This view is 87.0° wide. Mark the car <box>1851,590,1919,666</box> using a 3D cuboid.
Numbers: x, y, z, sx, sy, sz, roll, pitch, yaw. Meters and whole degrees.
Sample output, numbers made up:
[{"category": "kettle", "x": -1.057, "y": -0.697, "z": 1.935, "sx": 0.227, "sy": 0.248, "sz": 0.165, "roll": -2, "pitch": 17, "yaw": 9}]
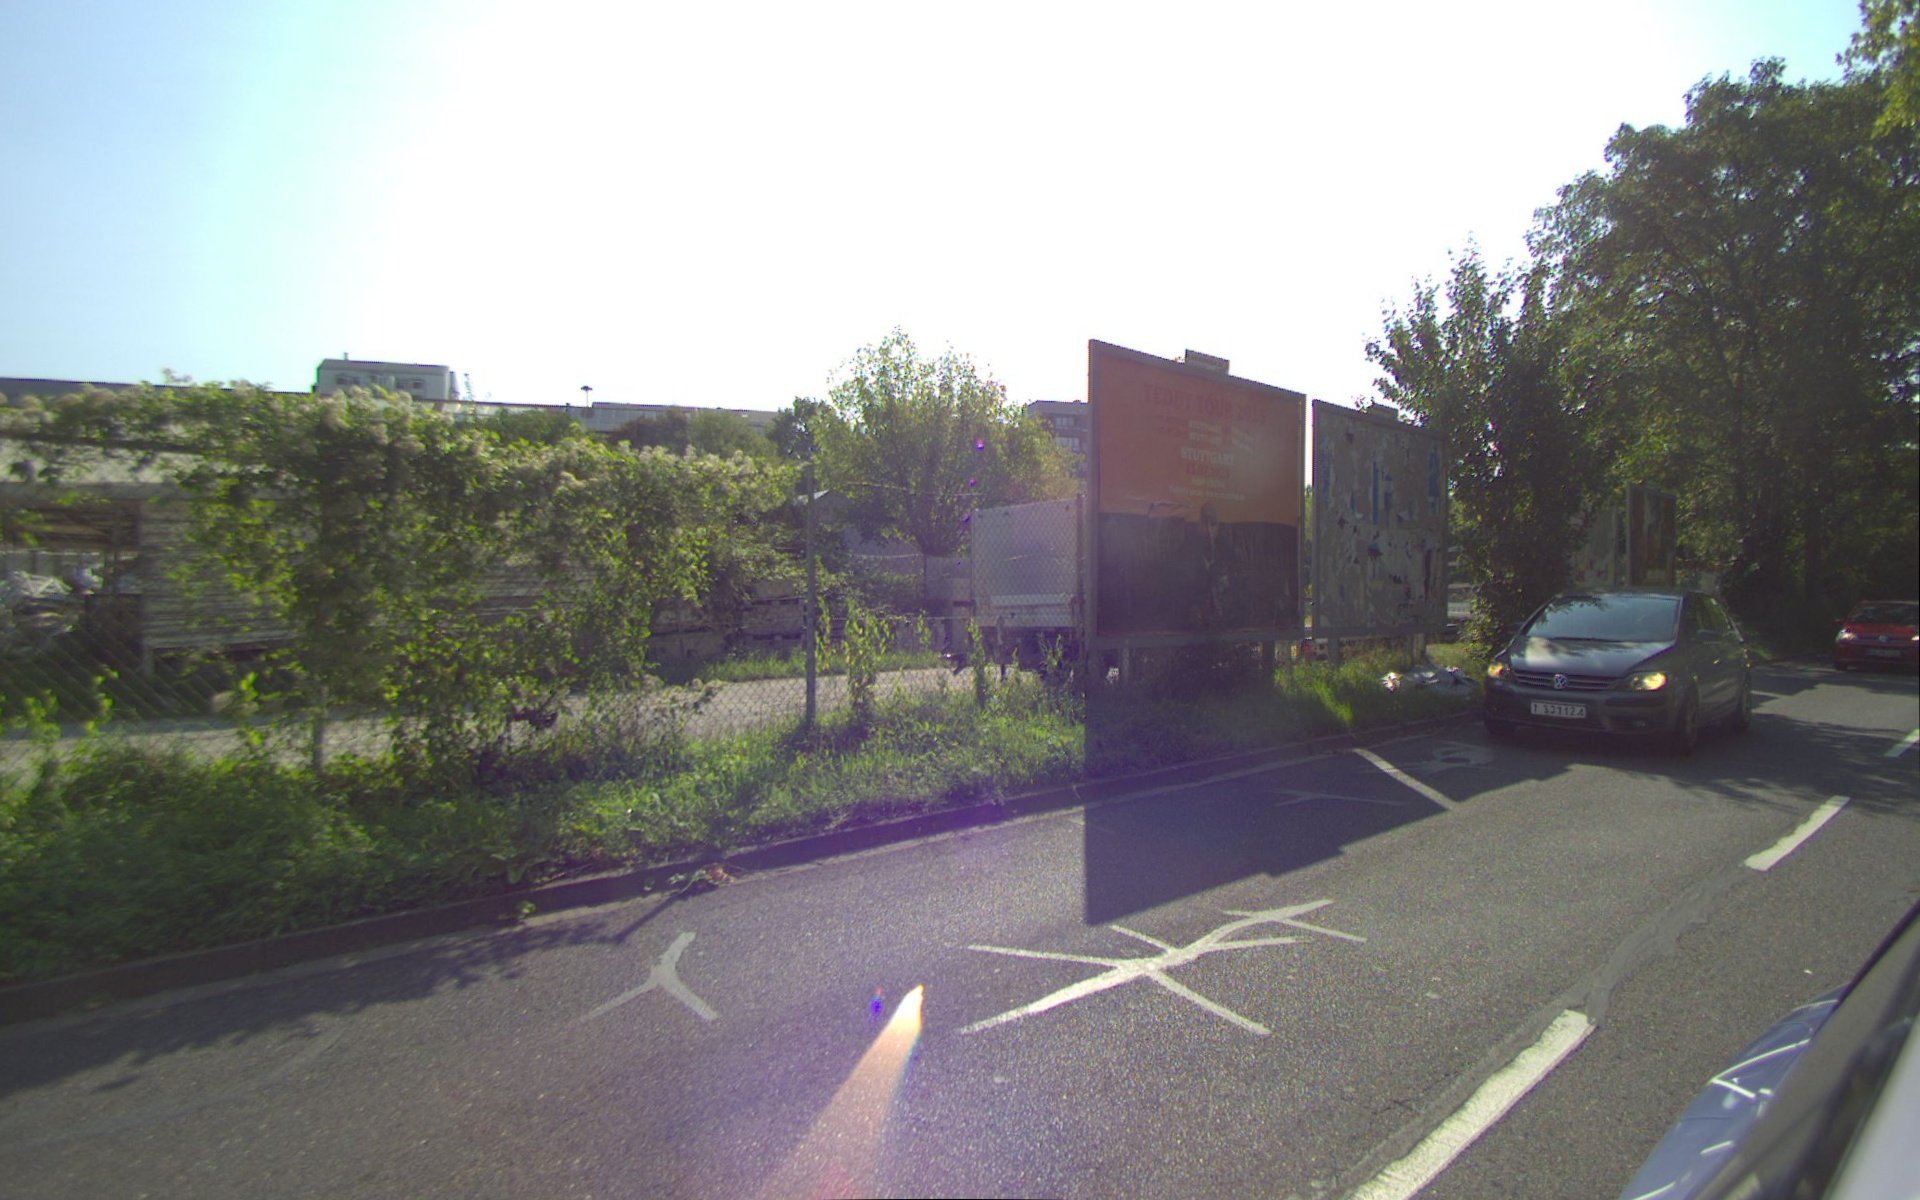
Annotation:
[{"category": "car", "x": 19.632, "y": 0.539, "z": 20.891, "sx": 3.414, "sy": 1.416, "sz": 1.576, "roll": -1, "pitch": 2, "yaw": -44}]

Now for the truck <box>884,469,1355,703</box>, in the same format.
[{"category": "truck", "x": 2.356, "y": -0.178, "z": 12.744, "sx": 6.792, "sy": 2.261, "sz": 1.918, "roll": -1, "pitch": 0, "yaw": -41}]

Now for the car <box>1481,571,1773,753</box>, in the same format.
[{"category": "car", "x": 7.106, "y": 0.502, "z": 10.639, "sx": 3.832, "sy": 1.576, "sz": 1.647, "roll": -1, "pitch": 1, "yaw": -42}]
